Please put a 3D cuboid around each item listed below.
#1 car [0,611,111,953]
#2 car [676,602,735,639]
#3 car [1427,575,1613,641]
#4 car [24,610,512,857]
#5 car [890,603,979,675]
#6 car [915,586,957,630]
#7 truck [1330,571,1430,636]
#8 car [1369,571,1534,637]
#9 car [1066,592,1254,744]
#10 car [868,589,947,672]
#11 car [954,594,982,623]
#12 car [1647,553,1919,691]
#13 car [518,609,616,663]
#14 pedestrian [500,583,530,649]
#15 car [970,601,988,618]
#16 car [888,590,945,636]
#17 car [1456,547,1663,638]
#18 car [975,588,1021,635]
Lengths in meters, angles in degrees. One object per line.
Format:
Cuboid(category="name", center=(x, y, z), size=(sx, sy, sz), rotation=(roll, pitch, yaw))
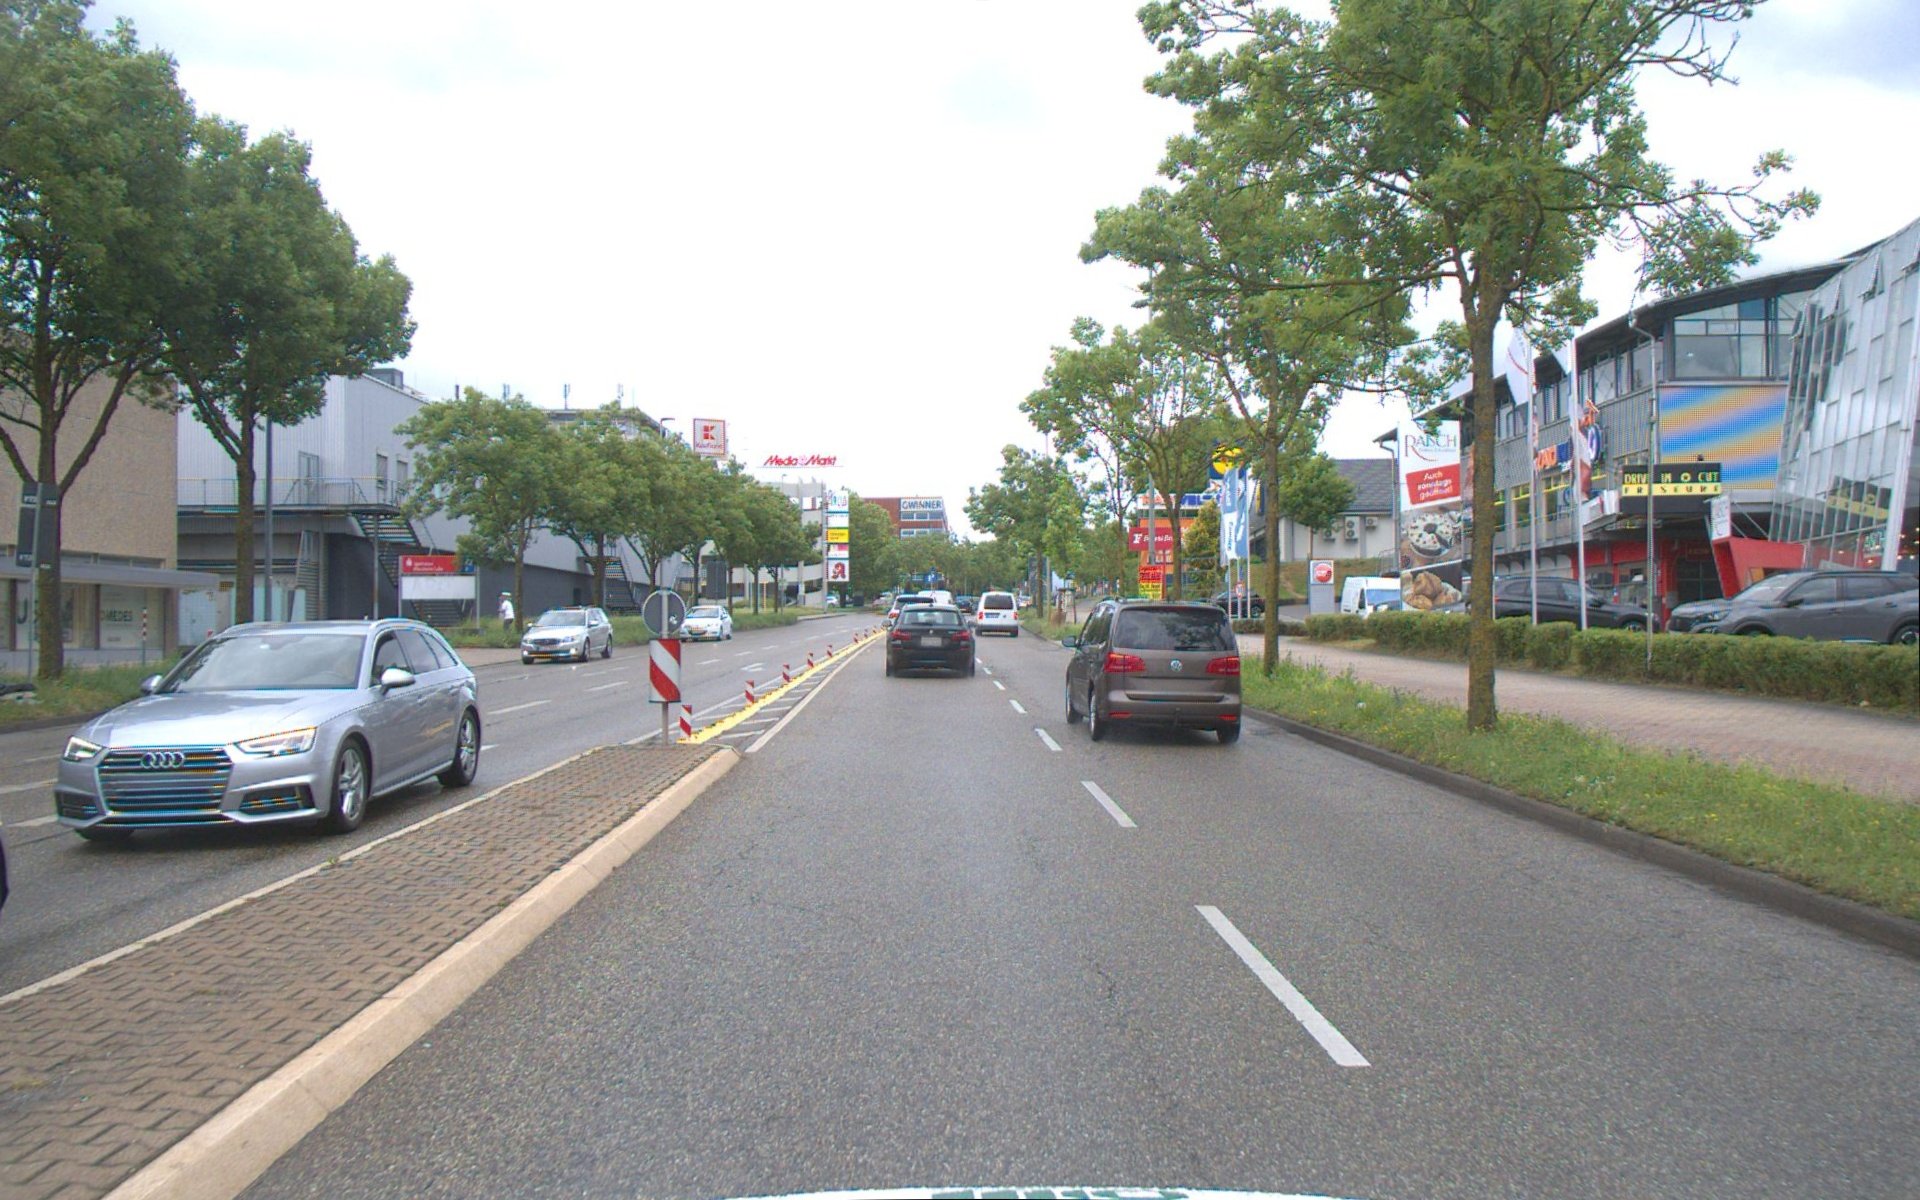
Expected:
Cuboid(category="car", center=(-4.823, 0.796, 5.243), size=(1.804, 1.401, 4.861), rotation=(-4, 0, -2))
Cuboid(category="car", center=(-10.472, 0.832, 68.255), size=(1.904, 1.474, 3.999), rotation=(0, 0, -1))
Cuboid(category="car", center=(13.680, 0.204, 40.588), size=(4.024, 1.563, 1.801), rotation=(0, 0, 5))
Cuboid(category="car", center=(-4.890, 0.844, 12.536), size=(1.688, 1.422, 4.788), rotation=(-3, -1, -1))
Cuboid(category="car", center=(-0.534, 0.789, 34.617), size=(1.745, 1.422, 3.999), rotation=(0, -1, -1))
Cuboid(category="car", center=(-1.151, 0.417, 80.591), size=(1.953, 2.049, 3.999), rotation=(1, -1, 0))
Cuboid(category="truck", center=(16.414, 0.193, 64.974), size=(2.393, 2.389, 5.456), rotation=(1, -1, -1))
Cuboid(category="car", center=(13.325, 0.110, 44.980), size=(4.024, 1.733, 1.801), rotation=(0, 0, 5))
Cuboid(category="car", center=(2.326, 0.758, 20.315), size=(1.764, 1.615, 4.450), rotation=(1, 0, 0))
Cuboid(category="car", center=(-1.190, 0.704, 38.508), size=(1.745, 1.824, 3.999), rotation=(0, -1, -1))
Cuboid(category="car", center=(0.522, 0.542, 101.156), size=(1.650, 1.713, 3.402), rotation=(1, -1, 0))
Cuboid(category="car", center=(13.525, 0.346, 26.816), size=(4.026, 2.142, 1.800), rotation=(0, 0, 1))
Cuboid(category="car", center=(-11.165, 0.999, 47.197), size=(1.904, 1.478, 3.999), rotation=(0, 0, -1))
Cuboid(category="pedestrian", center=(-15.363, 0.551, 57.071), size=(0.842, 2.257, 0.845), rotation=(0, 0, -4))
Cuboid(category="car", center=(1.791, 0.890, 154.885), size=(1.587, 1.521, 3.359), rotation=(1, -1, -1))
Cuboid(category="car", center=(-1.372, 0.436, 53.275), size=(1.745, 1.422, 3.999), rotation=(0, -1, -1))
Cuboid(category="car", center=(13.558, -0.167, 37.565), size=(4.026, 1.938, 1.800), rotation=(-1, 0, 1))
Cuboid(category="car", center=(1.554, 0.498, 69.474), size=(1.745, 1.899, 3.999), rotation=(-1, -1, -1))
